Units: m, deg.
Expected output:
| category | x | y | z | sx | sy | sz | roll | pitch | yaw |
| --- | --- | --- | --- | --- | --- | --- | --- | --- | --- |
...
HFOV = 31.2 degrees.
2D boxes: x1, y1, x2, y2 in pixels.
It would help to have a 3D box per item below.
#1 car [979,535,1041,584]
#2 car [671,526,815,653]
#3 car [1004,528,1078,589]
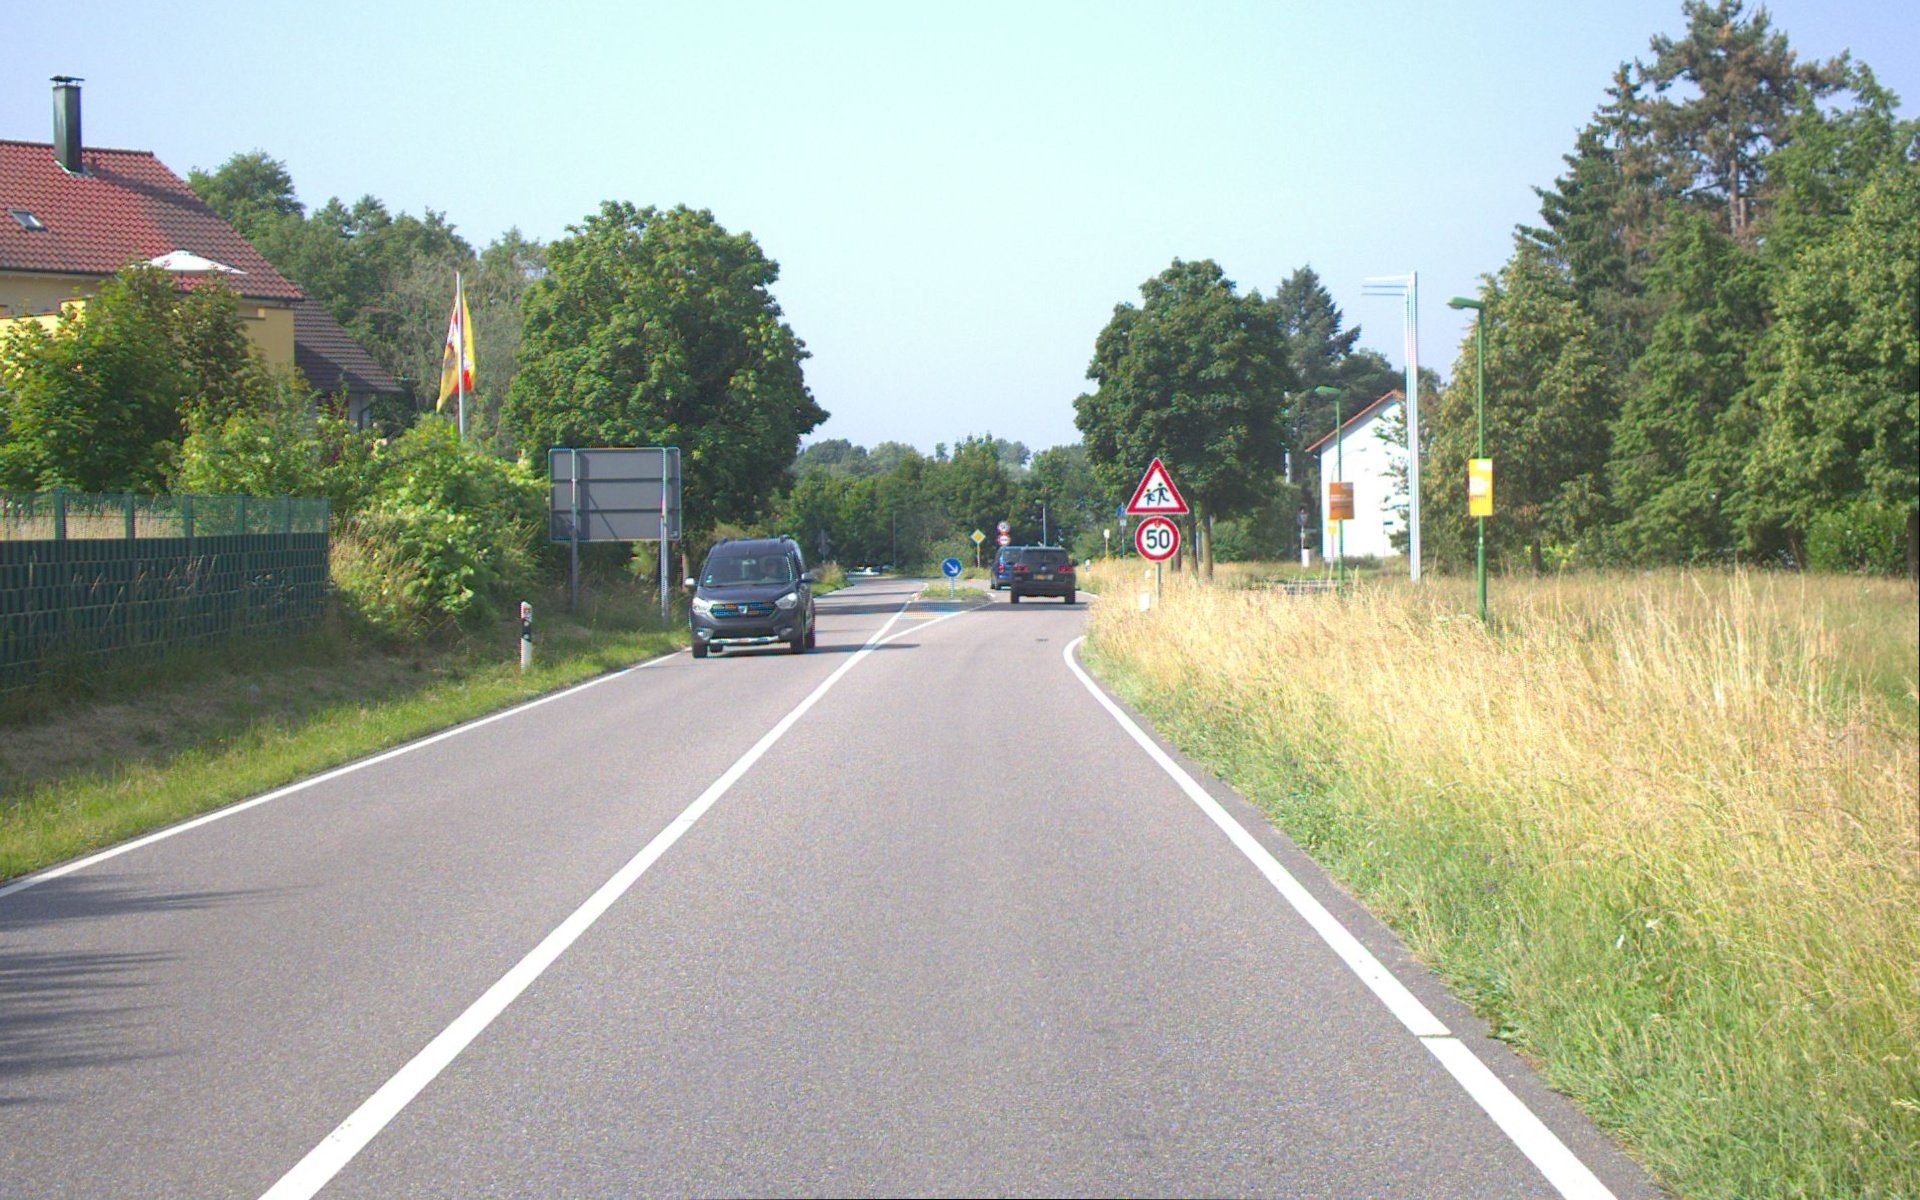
| category | x | y | z | sx | sy | sz | roll | pitch | yaw |
| --- | --- | --- | --- | --- | --- | --- | --- | --- | --- |
| car | 1.865 | -1.532 | 128.834 | 2.004 | 1.765 | 4.001 | -1 | 1 | -4 |
| car | -3.322 | -0.191 | 53.389 | 1.939 | 1.811 | 4.242 | -2 | 1 | -1 |
| car | 2.388 | -1.252 | 102.250 | 1.925 | 1.765 | 4.001 | -1 | 1 | -2 |
